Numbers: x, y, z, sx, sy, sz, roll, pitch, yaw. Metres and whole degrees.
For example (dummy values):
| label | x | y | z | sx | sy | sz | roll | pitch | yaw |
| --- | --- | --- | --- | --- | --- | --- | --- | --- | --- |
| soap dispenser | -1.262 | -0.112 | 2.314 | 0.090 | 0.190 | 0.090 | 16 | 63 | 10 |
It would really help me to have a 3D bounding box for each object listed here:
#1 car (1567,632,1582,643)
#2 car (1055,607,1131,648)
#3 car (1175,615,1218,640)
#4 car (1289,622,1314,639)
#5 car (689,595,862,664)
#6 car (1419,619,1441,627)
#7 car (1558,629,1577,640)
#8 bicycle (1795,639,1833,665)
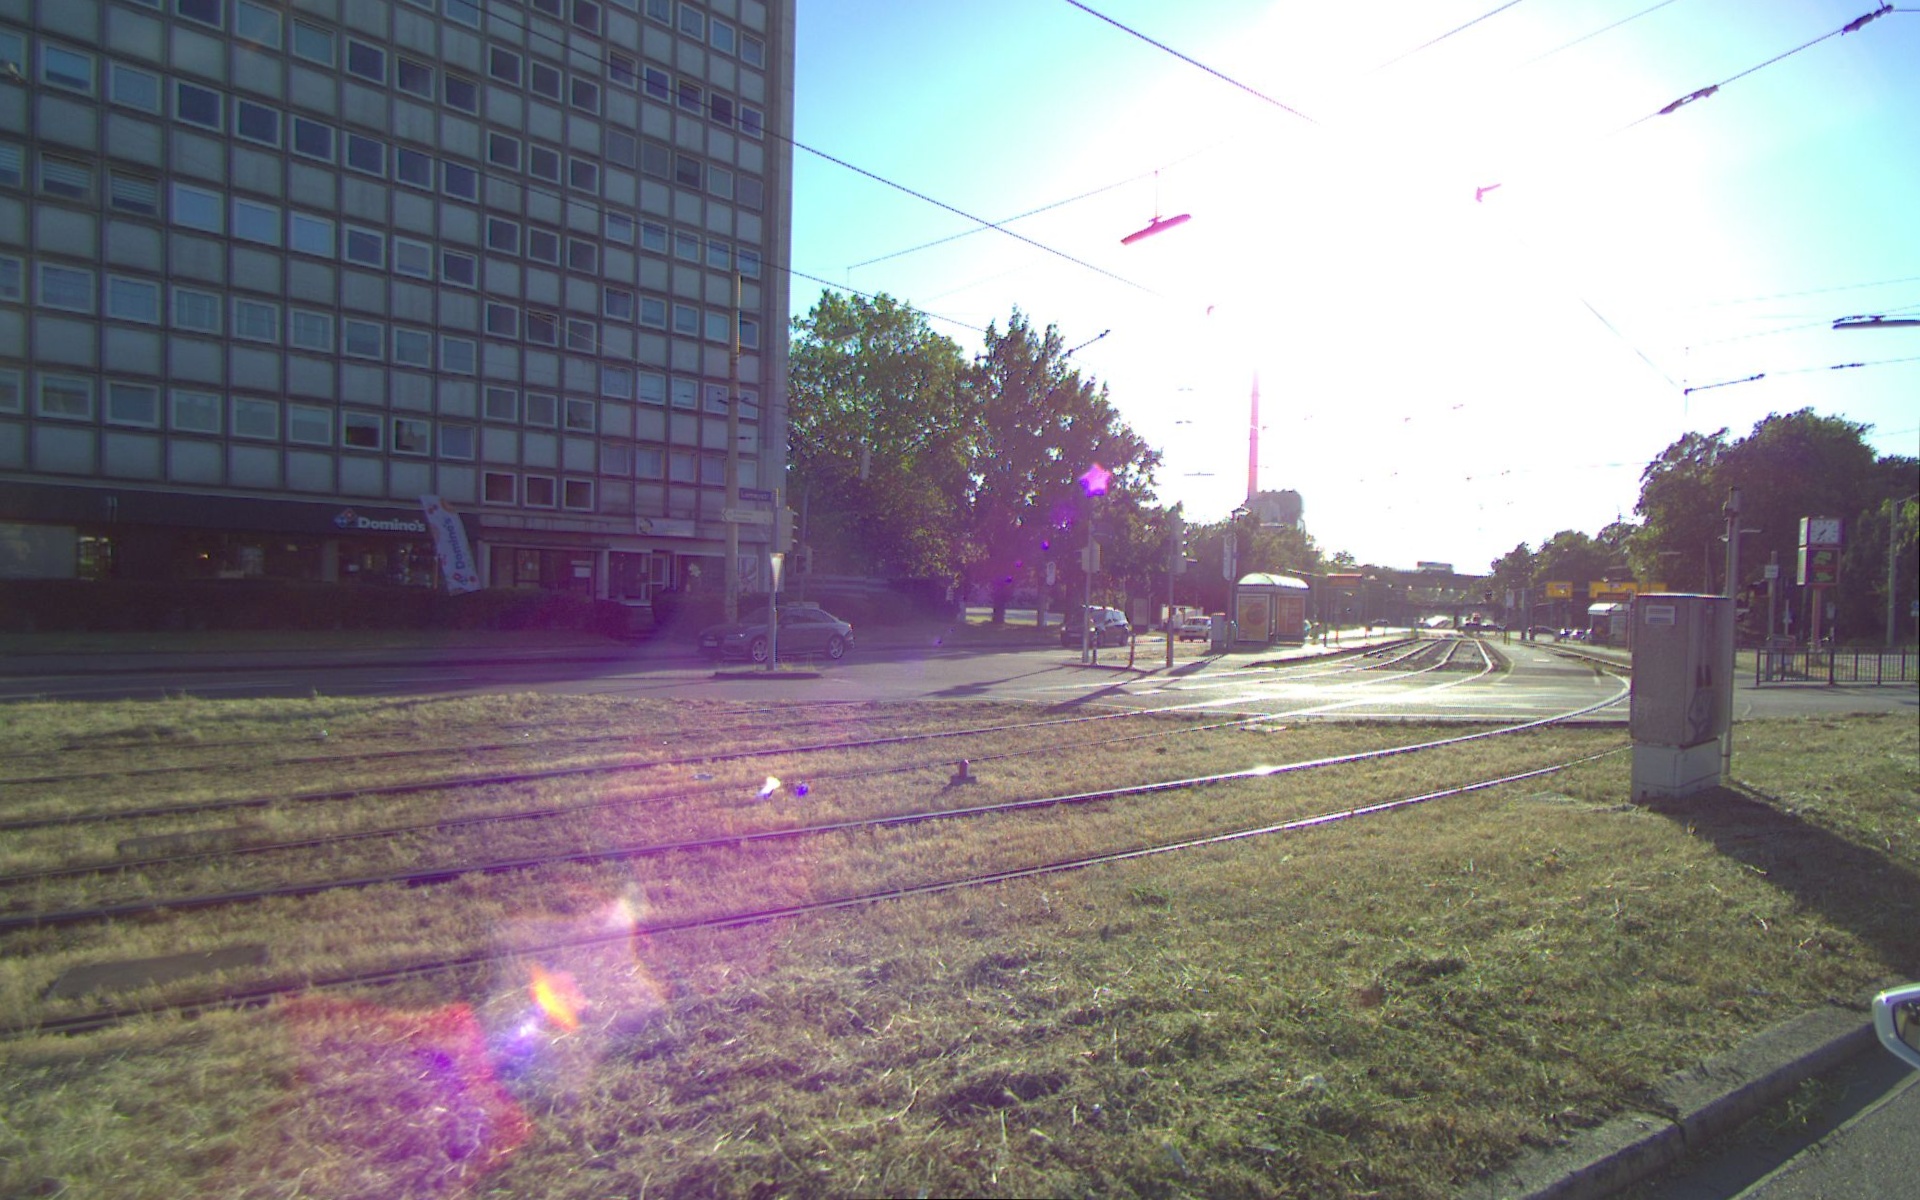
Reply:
| label | x | y | z | sx | sy | sz | roll | pitch | yaw |
| --- | --- | --- | --- | --- | --- | --- | --- | --- | --- |
| car | 85.939 | 5.208 | 140.530 | 1.492 | 1.406 | 3.358 | 2 | 1 | 27 |
| car | 5.702 | 1.172 | 42.747 | 1.558 | 1.616 | 4.142 | 2 | 0 | 33 |
| car | 13.766 | 1.559 | 58.454 | 1.522 | 1.358 | 3.588 | 1 | 0 | 29 |
| car | 32.211 | 2.839 | 94.600 | 1.631 | 1.552 | 4.386 | 1 | -1 | 27 |
| car | -4.747 | 0.750 | 26.431 | 1.630 | 1.617 | 4.569 | 2 | 0 | 37 |
| car | 92.028 | 4.437 | 196.706 | 3.924 | 1.465 | 1.773 | 1 | -1 | 25 |
| car | 89.661 | 5.143 | 148.339 | 2.006 | 1.465 | 3.996 | 0 | 0 | 26 |
| bicycle | 31.142 | 1.894 | 36.643 | 1.723 | 0.930 | 0.550 | 1 | -2 | -32 |
